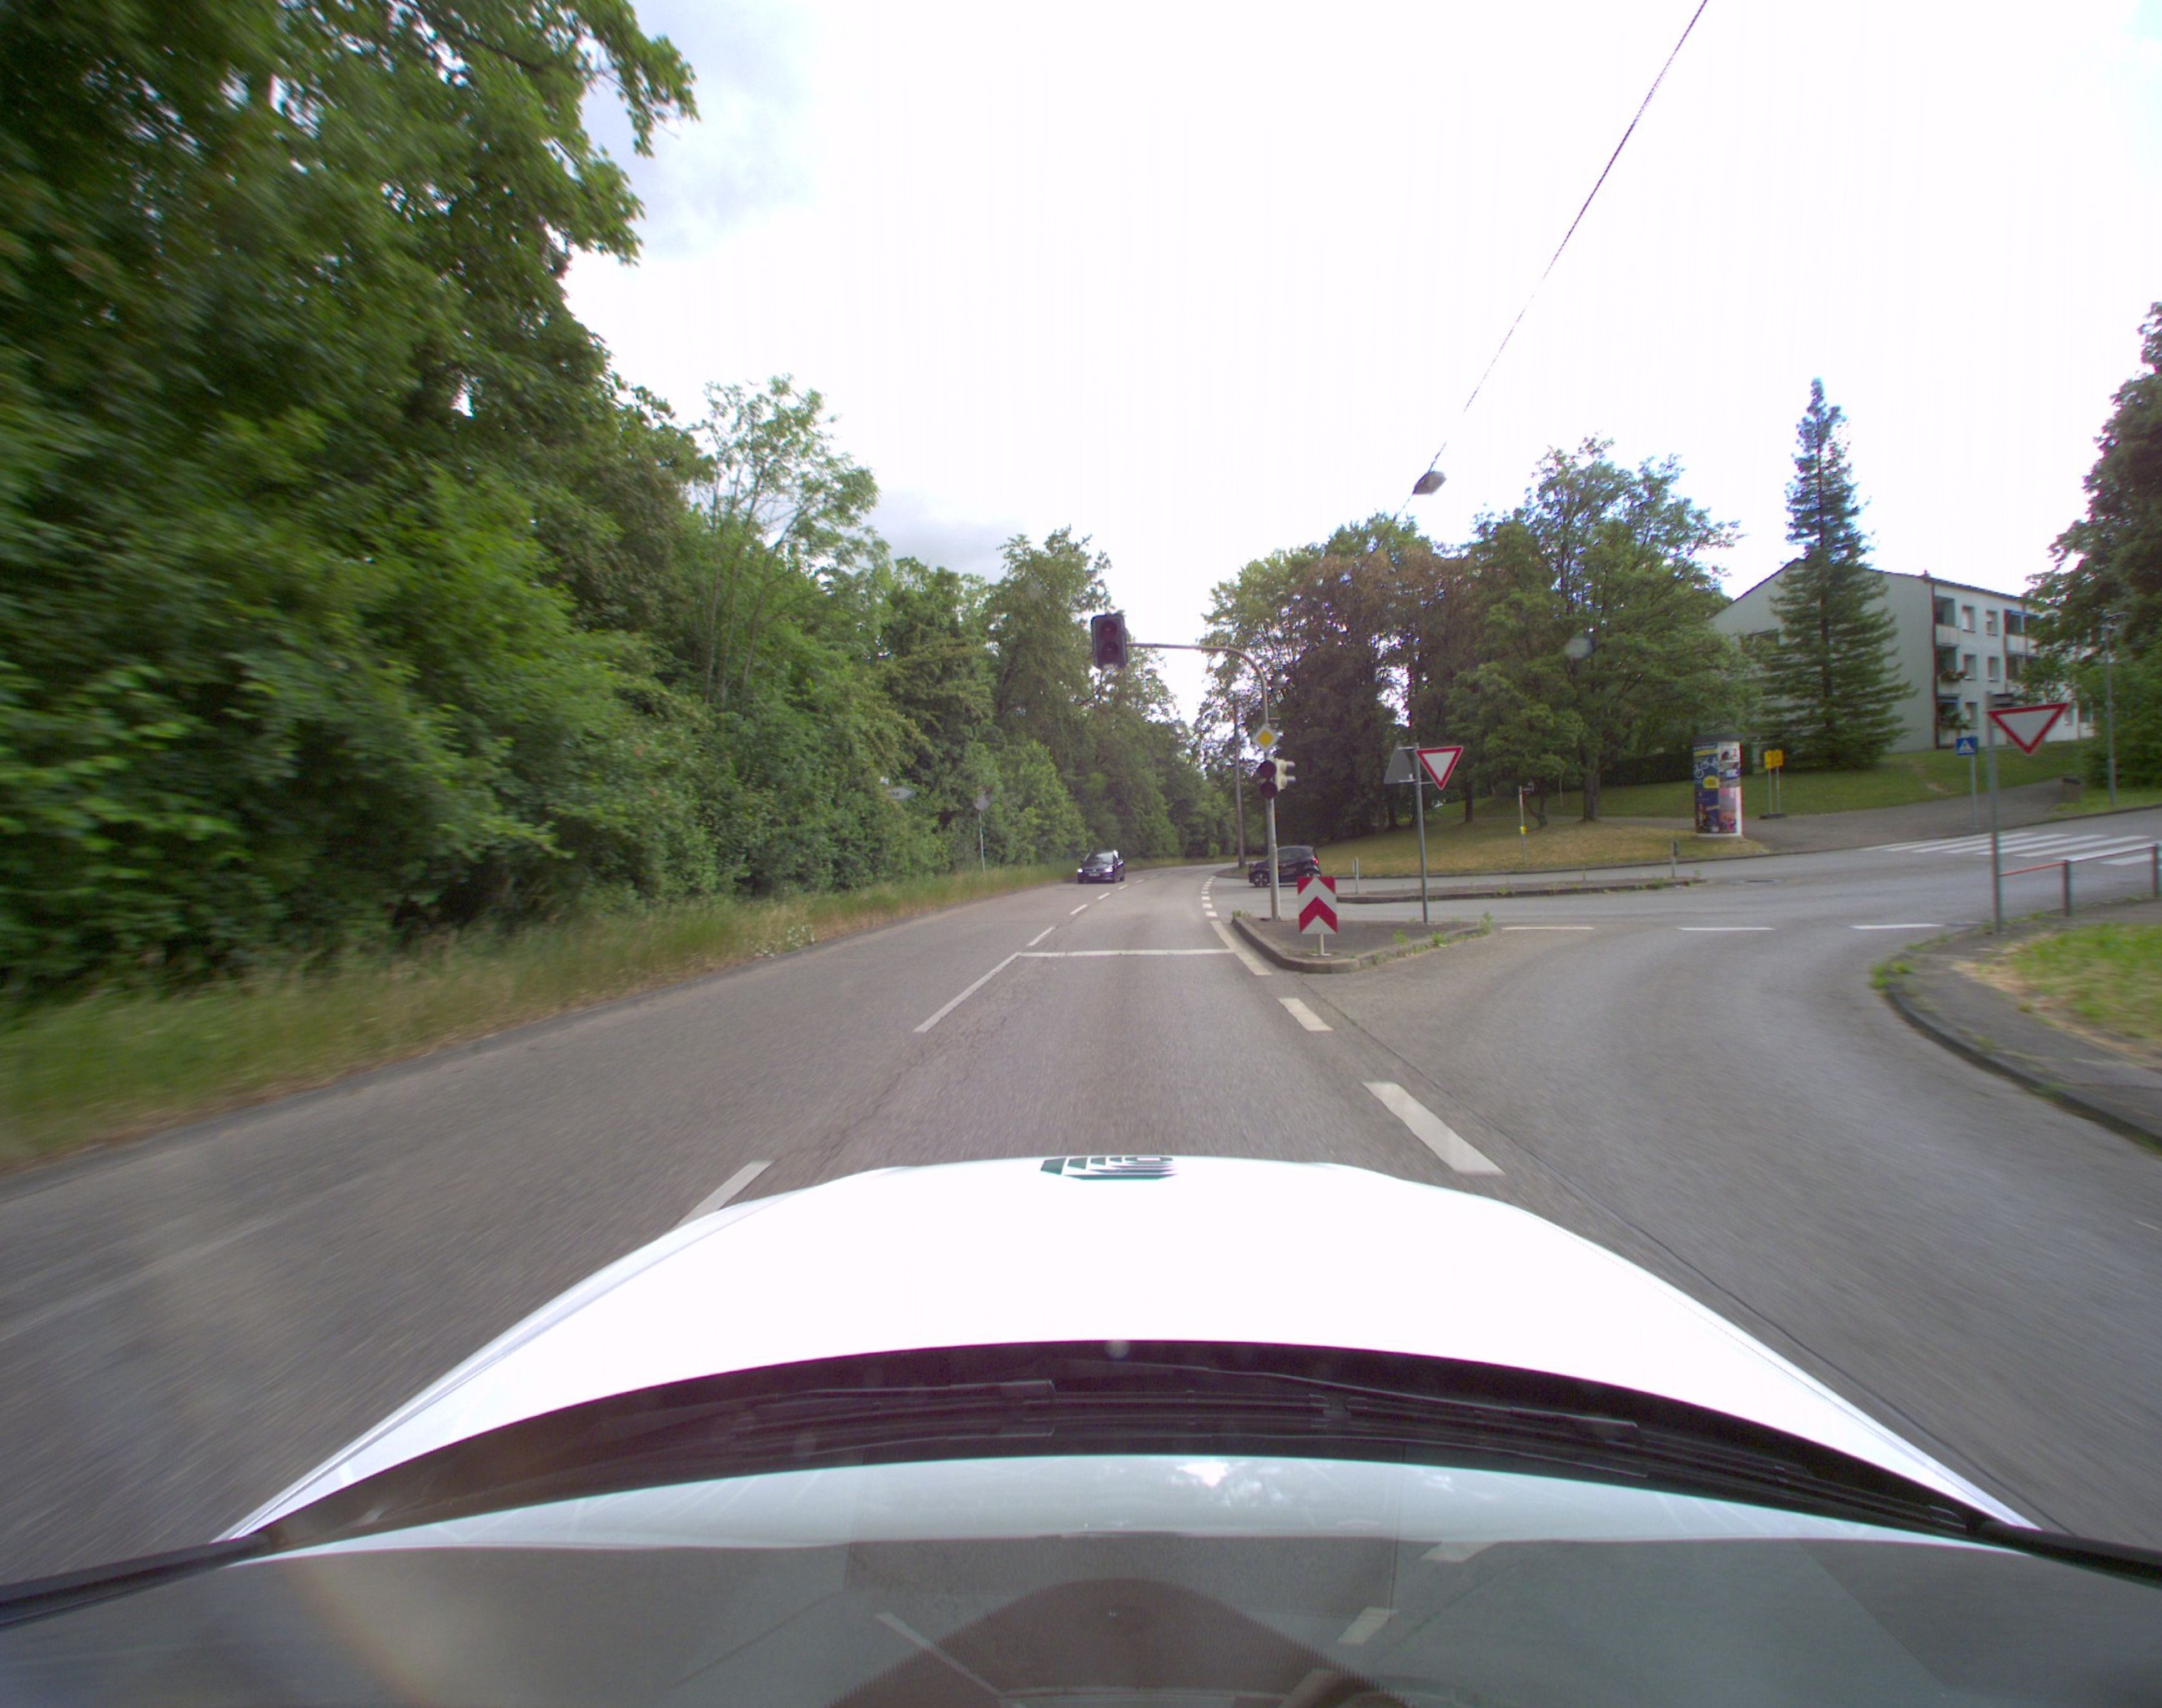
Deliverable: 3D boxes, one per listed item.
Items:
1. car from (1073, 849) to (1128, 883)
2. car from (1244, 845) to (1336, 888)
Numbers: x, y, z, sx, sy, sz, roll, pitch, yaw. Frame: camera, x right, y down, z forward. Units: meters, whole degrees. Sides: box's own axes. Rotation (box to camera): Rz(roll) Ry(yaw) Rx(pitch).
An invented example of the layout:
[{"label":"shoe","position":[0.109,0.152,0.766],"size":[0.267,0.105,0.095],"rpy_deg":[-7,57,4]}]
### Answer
[{"label":"car","position":[1.018,0.544,39.062],"size":[1.777,1.514,4.858],"rpy_deg":[0,0,12]},{"label":"car","position":[8.023,0.467,31.408],"size":[3.281,1.494,1.674],"rpy_deg":[-3,0,12]}]
